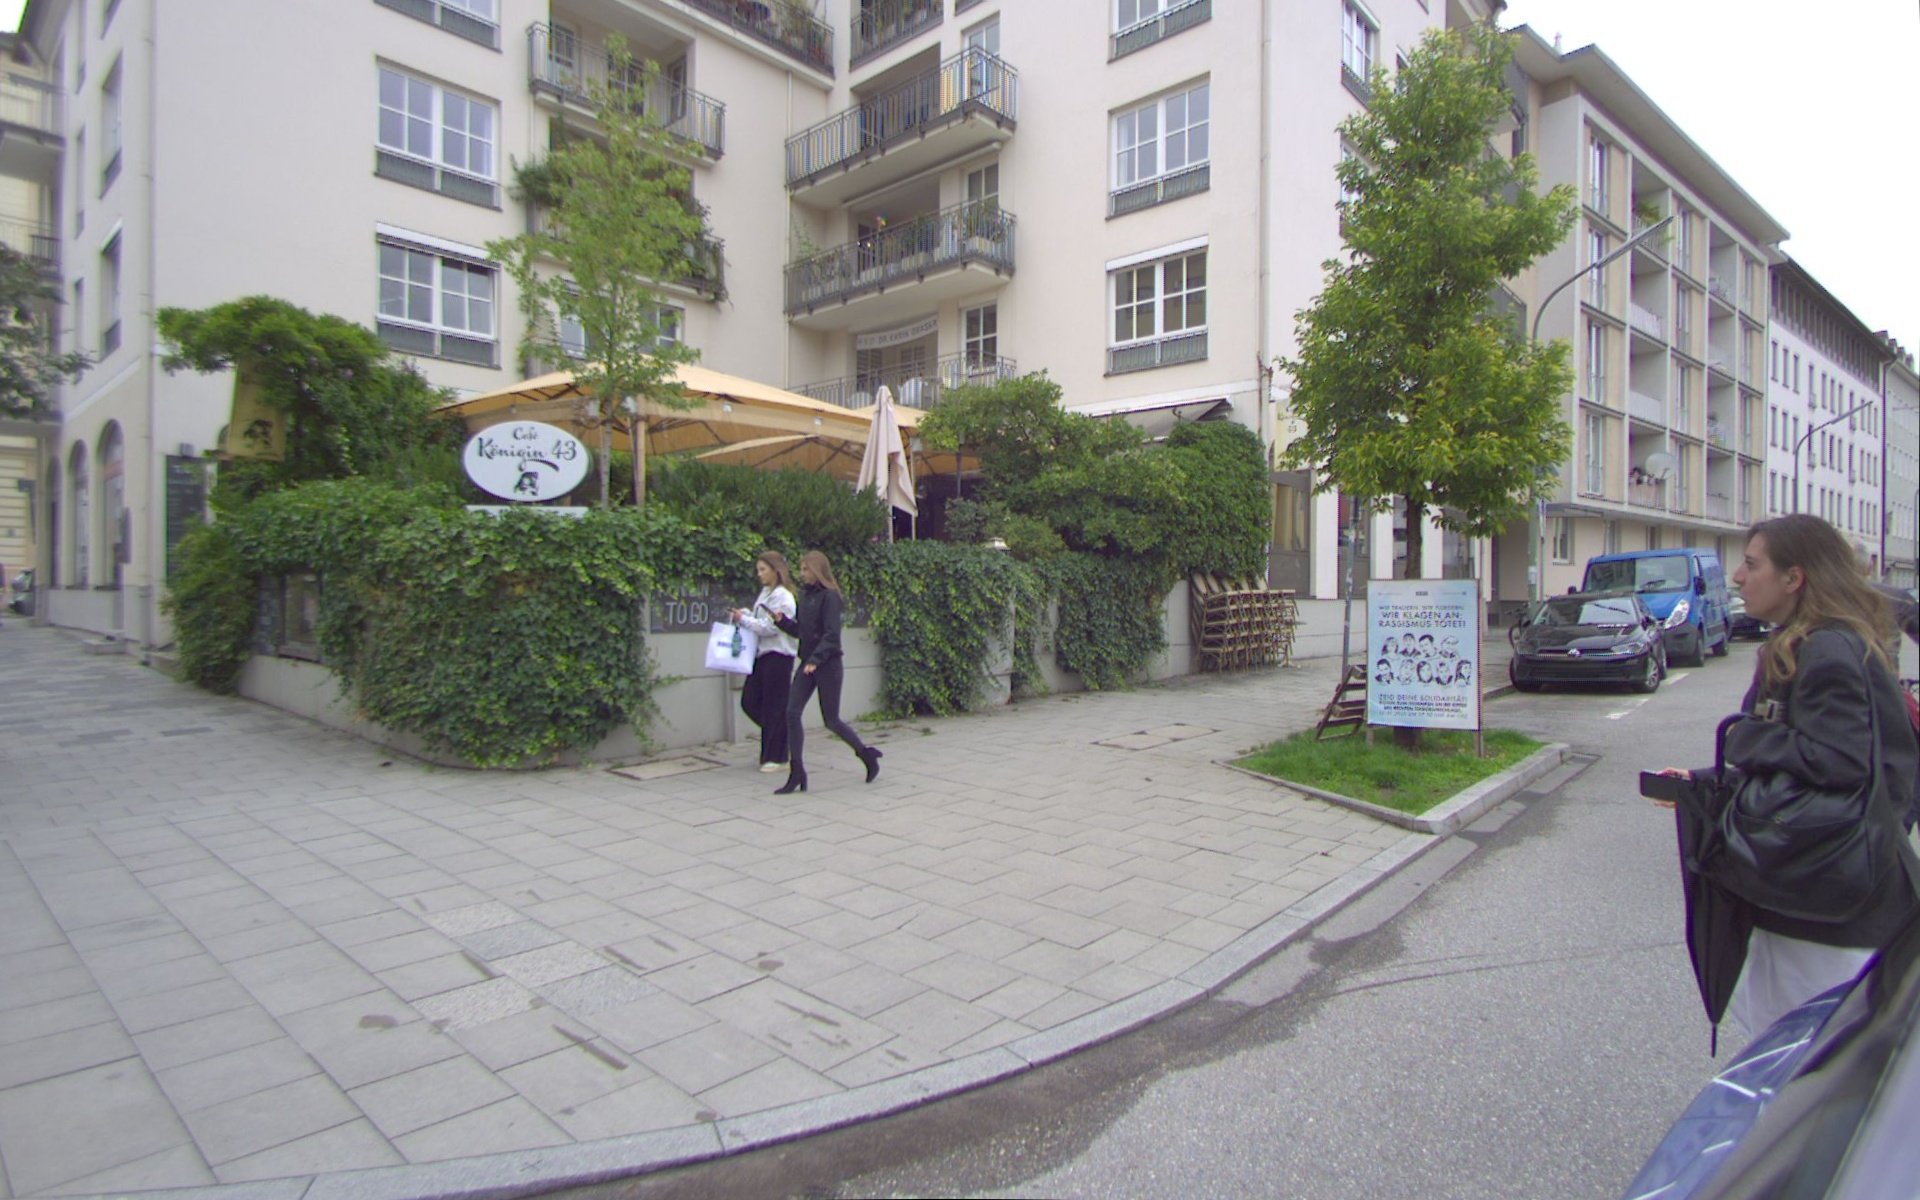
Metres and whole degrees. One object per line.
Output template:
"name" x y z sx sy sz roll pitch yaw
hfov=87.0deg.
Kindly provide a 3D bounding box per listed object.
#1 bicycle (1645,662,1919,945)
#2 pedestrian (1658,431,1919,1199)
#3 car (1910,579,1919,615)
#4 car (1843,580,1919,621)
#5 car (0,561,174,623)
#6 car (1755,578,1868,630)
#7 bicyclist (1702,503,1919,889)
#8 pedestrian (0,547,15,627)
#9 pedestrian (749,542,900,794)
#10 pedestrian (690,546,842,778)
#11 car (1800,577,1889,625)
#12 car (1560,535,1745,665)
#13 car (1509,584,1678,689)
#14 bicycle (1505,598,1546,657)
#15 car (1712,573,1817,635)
"bicycle" 4.460 0.870 4.922 2.145 1.032 0.881 0 1 -25
"pedestrian" 2.035 0.511 2.372 0.539 1.718 0.659 3 2 31
"car" 42.787 -0.148 43.998 3.318 1.536 1.617 0 -3 -39
"car" 34.238 0.048 37.299 4.410 1.399 1.831 0 -2 -39
"car" -23.365 -0.224 27.121 1.571 1.549 3.427 1 1 43
"car" 26.276 0.122 31.180 4.609 1.448 1.775 0 -4 -39
"bicyclist" 4.348 0.399 4.854 1.028 1.629 0.879 1 0 -26
"pedestrian" -21.274 -0.291 22.166 0.829 1.735 0.776 1 0 42
"pedestrian" -0.953 0.426 7.152 0.678 1.648 0.817 2 2 42
"pedestrian" -1.464 0.413 7.646 0.806 1.626 0.817 2 2 42
"car" 30.153 0.042 34.484 4.049 1.488 1.704 0 -3 -42
"car" 13.974 -0.045 20.280 2.108 2.242 4.950 -5 -2 44
"car" 9.869 0.503 15.636 1.711 1.412 3.944 -3 -2 39
"bicycle" 10.910 0.504 19.498 0.563 1.083 1.766 1 1 33
"car" 22.330 0.138 28.027 1.775 1.543 4.234 -5 -4 44
